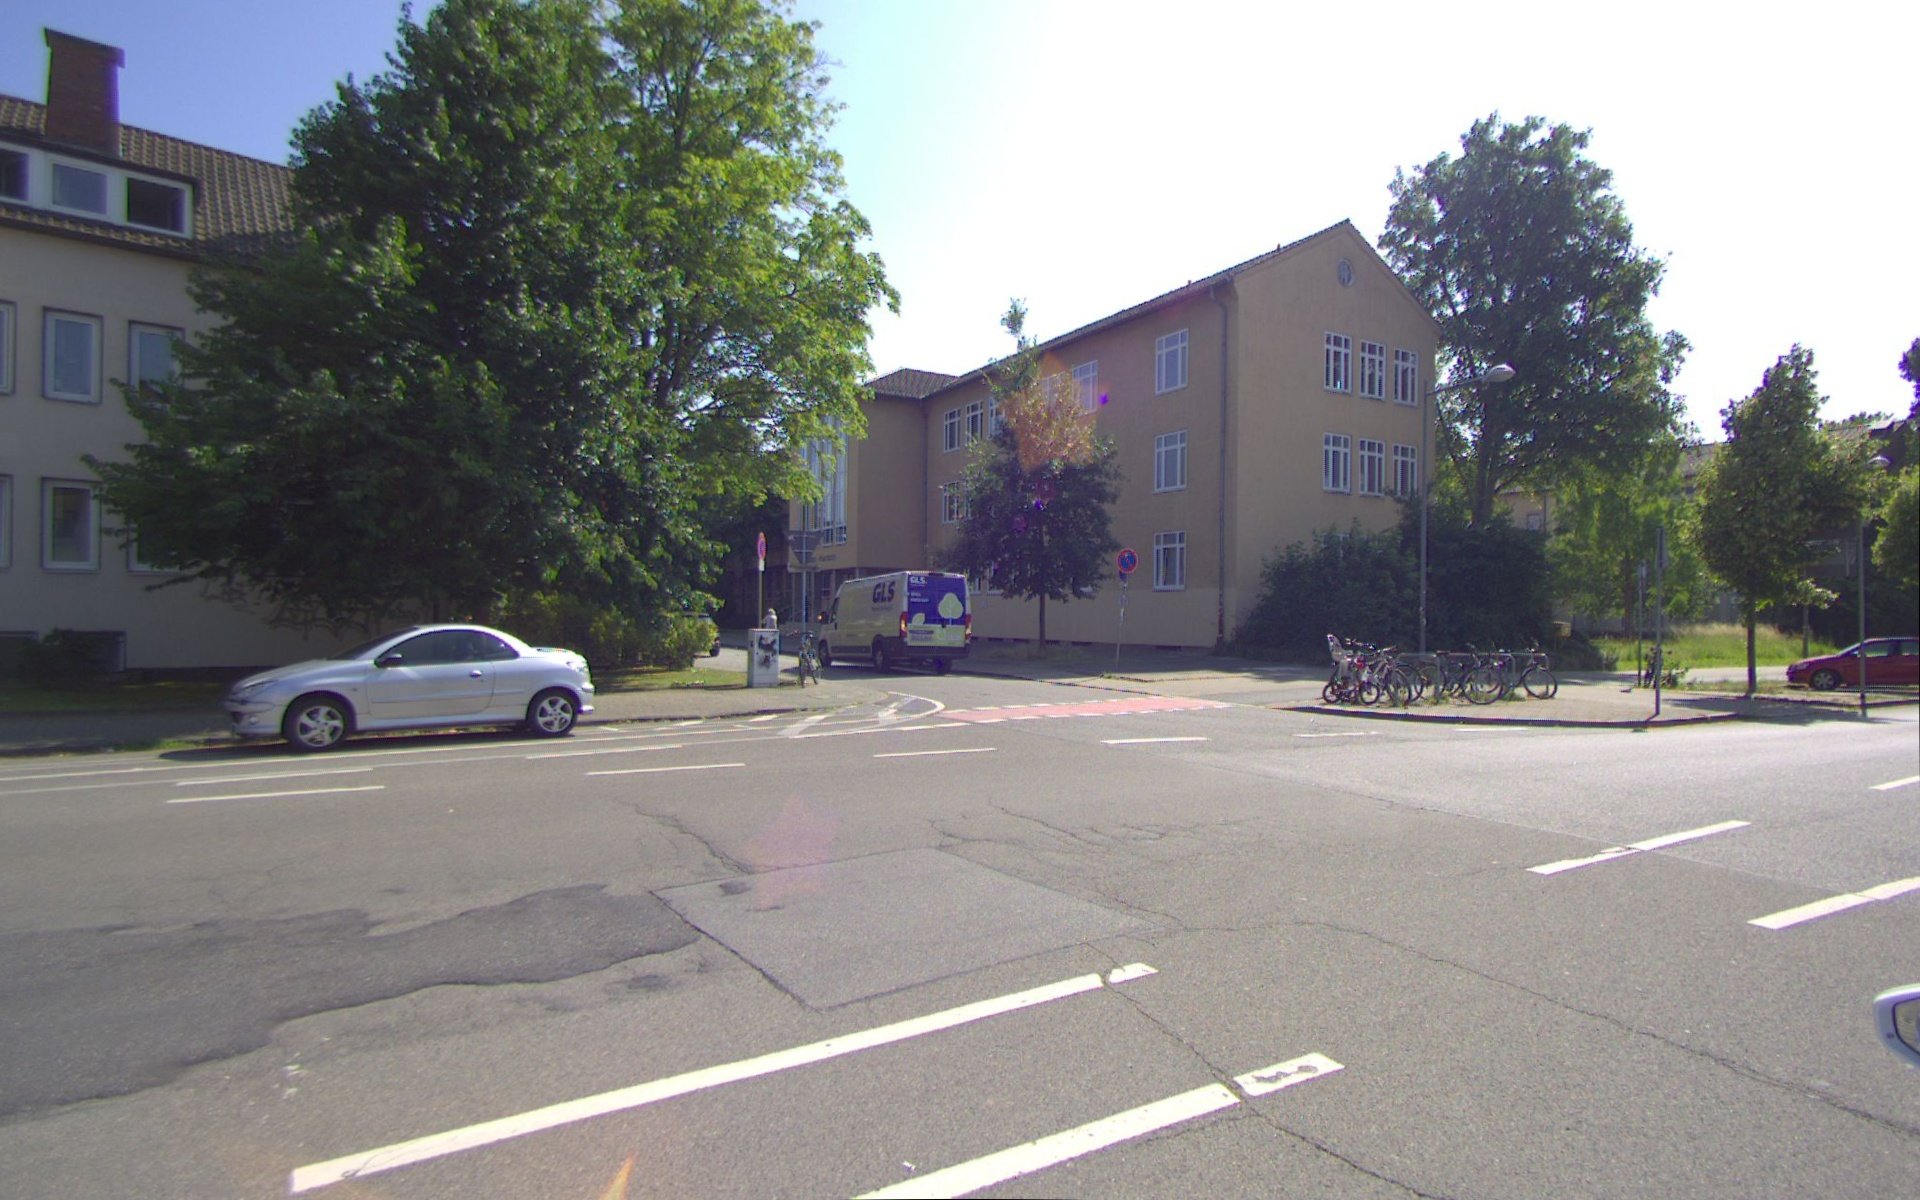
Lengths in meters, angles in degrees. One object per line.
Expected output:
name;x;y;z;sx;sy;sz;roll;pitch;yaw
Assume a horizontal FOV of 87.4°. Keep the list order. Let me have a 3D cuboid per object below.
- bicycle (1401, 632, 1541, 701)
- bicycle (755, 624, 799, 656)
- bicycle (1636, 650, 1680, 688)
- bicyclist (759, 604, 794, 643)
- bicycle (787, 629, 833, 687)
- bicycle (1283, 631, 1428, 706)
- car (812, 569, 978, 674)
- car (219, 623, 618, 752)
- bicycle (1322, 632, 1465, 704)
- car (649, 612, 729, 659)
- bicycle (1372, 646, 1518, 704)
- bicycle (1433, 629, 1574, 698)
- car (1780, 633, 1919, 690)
bicycle;10.230;1.298;20.228;0.731;1.273;2.501;0;-2;-32
bicycle;-6.814;1.466;37.295;0.947;1.128;2.536;0;-1;-26
bicycle;17.539;1.725;25.250;1.258;0.915;0.517;2;-2;-36
bicyclist;-6.831;0.865;37.303;0.947;1.422;1.346;0;-1;-27
bicycle;-3.010;1.144;20.230;0.370;1.095;1.717;0;0;10
bicycle;7.220;1.218;18.497;0.731;1.273;2.531;0;-2;-32
car;-1.965;0.624;27.685;2.255;2.557;6.090;1;-2;-29
car;-6.332;0.924;11.953;3.965;1.283;1.707;1;-2;-39
bicycle;8.145;1.248;19.016;0.731;1.255;2.531;0;-2;-32
car;-9.691;1.215;35.731;1.730;1.572;3.762;0;-1;-33
bicycle;9.280;1.410;19.346;0.731;1.000;2.531;0;-2;-32
bicycle;11.187;1.273;20.788;0.731;1.273;2.530;1;-1;-32
car;25.374;1.678;27.946;3.939;1.486;1.991;-1;-2;39
